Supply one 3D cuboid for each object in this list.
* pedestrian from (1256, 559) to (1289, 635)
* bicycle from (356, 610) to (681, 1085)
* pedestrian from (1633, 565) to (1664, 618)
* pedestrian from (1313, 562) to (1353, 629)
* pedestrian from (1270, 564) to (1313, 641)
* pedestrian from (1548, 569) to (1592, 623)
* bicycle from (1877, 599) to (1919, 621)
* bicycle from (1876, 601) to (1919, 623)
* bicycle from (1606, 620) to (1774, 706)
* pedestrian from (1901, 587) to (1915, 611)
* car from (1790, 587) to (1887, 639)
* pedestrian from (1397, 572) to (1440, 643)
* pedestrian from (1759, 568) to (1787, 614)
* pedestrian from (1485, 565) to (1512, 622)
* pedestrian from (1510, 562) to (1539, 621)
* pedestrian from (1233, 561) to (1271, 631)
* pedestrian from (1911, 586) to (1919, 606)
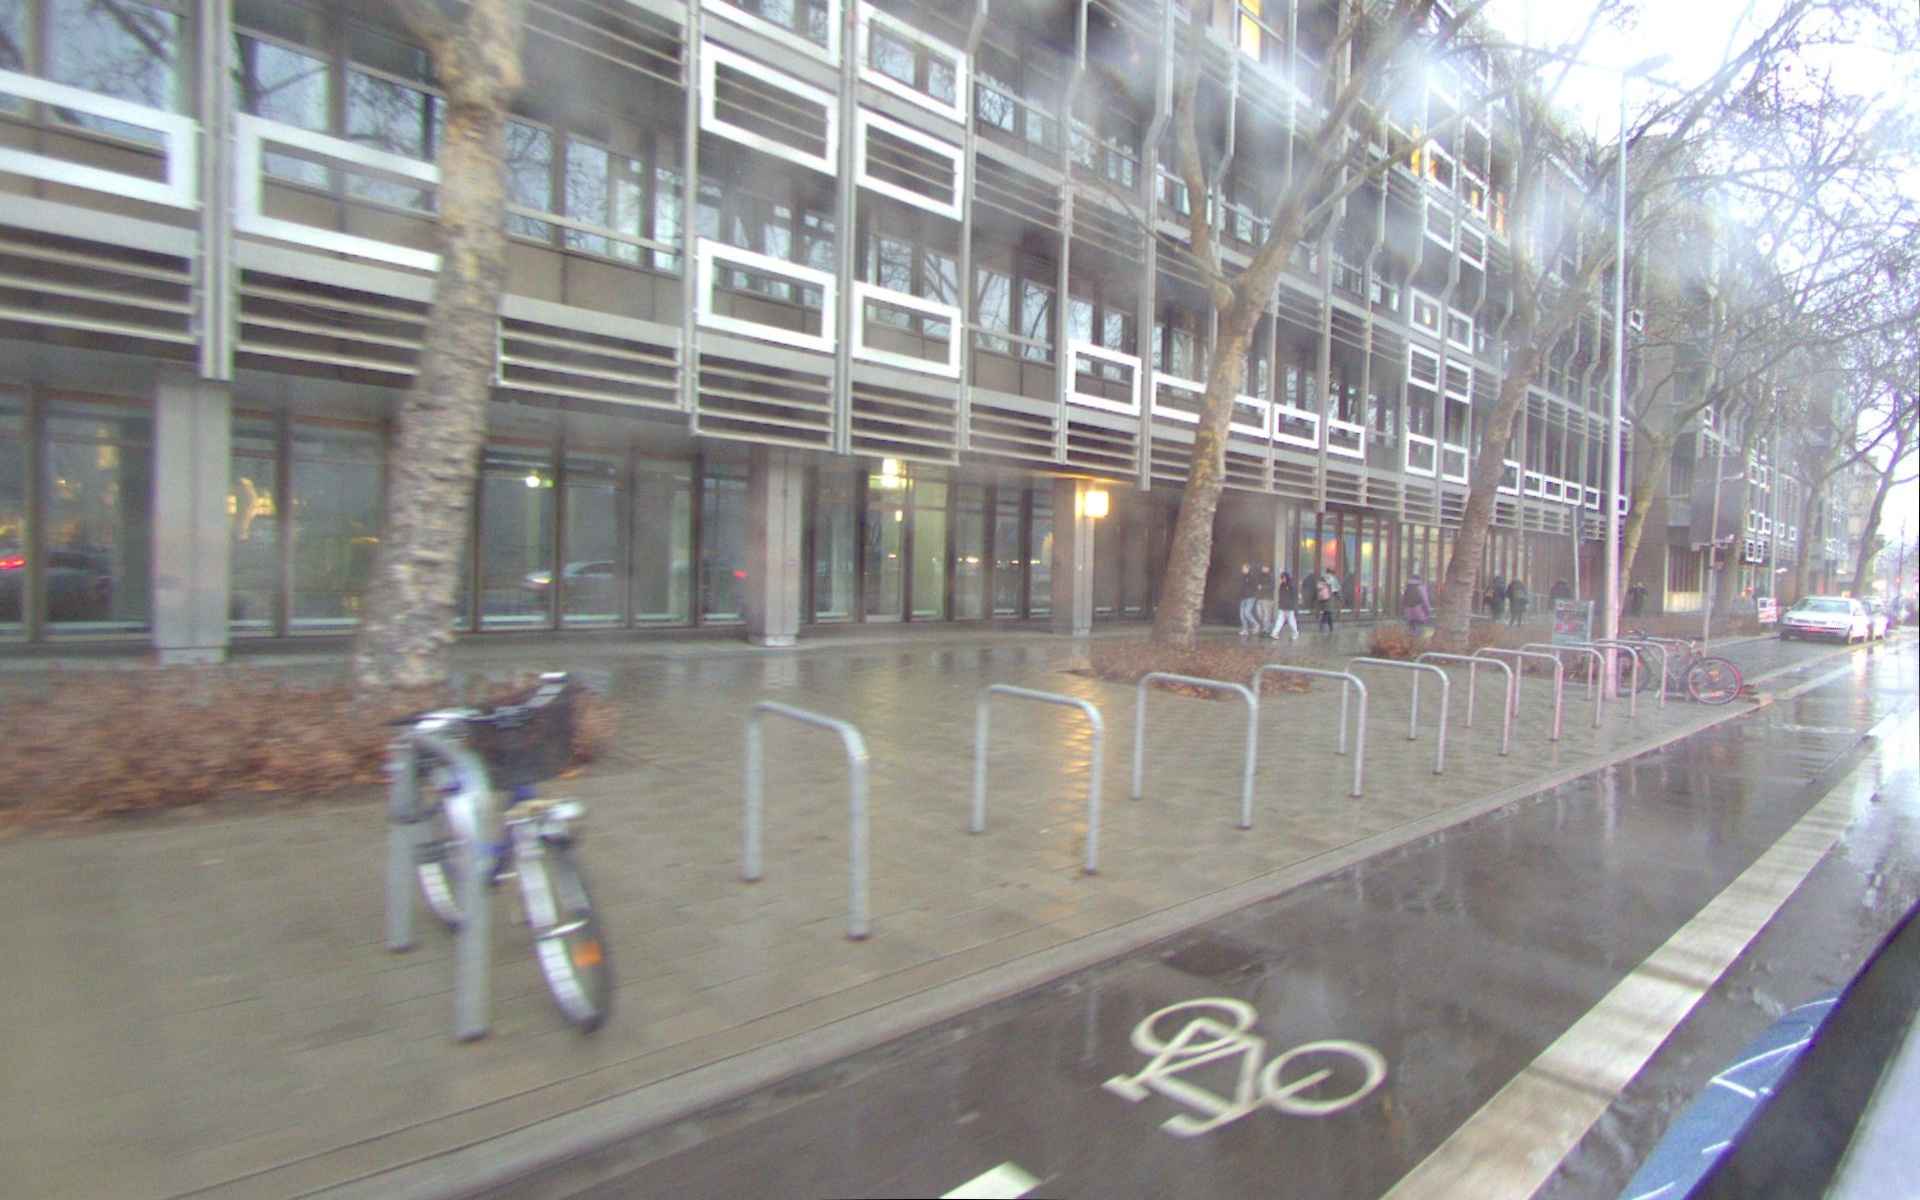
[{"bbox_3d":[7.078,-0.079,22.924,0.701,1.688,0.379,0,2,-40],"label":"pedestrian"},{"bbox_3d":[-1.616,0.683,3.518,0.428,1.162,1.752,0,4,-44],"label":"bicycle"},{"bbox_3d":[26.861,-0.329,39.485,0.723,2.038,0.821,0,1,-43],"label":"pedestrian"},{"bbox_3d":[9.529,-0.123,25.865,0.766,1.677,0.617,0,1,-41],"label":"pedestrian"},{"bbox_3d":[7.388,0.043,22.536,0.858,1.688,0.501,0,2,-40],"label":"pedestrian"},{"bbox_3d":[17.825,-0.118,29.578,0.823,1.543,0.866,0,2,-40],"label":"pedestrian"},{"bbox_3d":[45.661,0.475,49.283,1.518,1.049,0.462,0,1,43],"label":"bicycle"},{"bbox_3d":[44.713,0.562,48.286,1.518,1.049,0.462,0,1,43],"label":"bicycle"},{"bbox_3d":[10.199,0.849,14.190,0.607,0.986,1.789,0,3,-44],"label":"bicycle"},{"bbox_3d":[81.337,-0.088,86.848,0.758,2.039,0.837,-1,1,-41],"label":"pedestrian"},{"bbox_3d":[28.057,0.367,32.290,3.859,1.449,1.609,0,5,-39],"label":"car"},{"bbox_3d":[10.254,0.157,22.633,0.604,1.563,0.649,0,2,-40],"label":"pedestrian"},{"bbox_3d":[37.140,-0.406,46.247,1.006,2.038,0.790,0,1,-41],"label":"pedestrian"},{"bbox_3d":[16.298,-0.214,30.628,0.635,1.675,0.835,2,1,26],"label":"pedestrian"},{"bbox_3d":[16.988,-0.257,30.454,0.654,1.739,0.835,2,1,26],"label":"pedestrian"},{"bbox_3d":[6.721,-0.102,23.271,0.733,1.583,0.484,0,2,-42],"label":"pedestrian"},{"bbox_3d":[96.538,-0.424,102.051,0.758,2.039,0.837,-1,1,-41],"label":"pedestrian"}]
